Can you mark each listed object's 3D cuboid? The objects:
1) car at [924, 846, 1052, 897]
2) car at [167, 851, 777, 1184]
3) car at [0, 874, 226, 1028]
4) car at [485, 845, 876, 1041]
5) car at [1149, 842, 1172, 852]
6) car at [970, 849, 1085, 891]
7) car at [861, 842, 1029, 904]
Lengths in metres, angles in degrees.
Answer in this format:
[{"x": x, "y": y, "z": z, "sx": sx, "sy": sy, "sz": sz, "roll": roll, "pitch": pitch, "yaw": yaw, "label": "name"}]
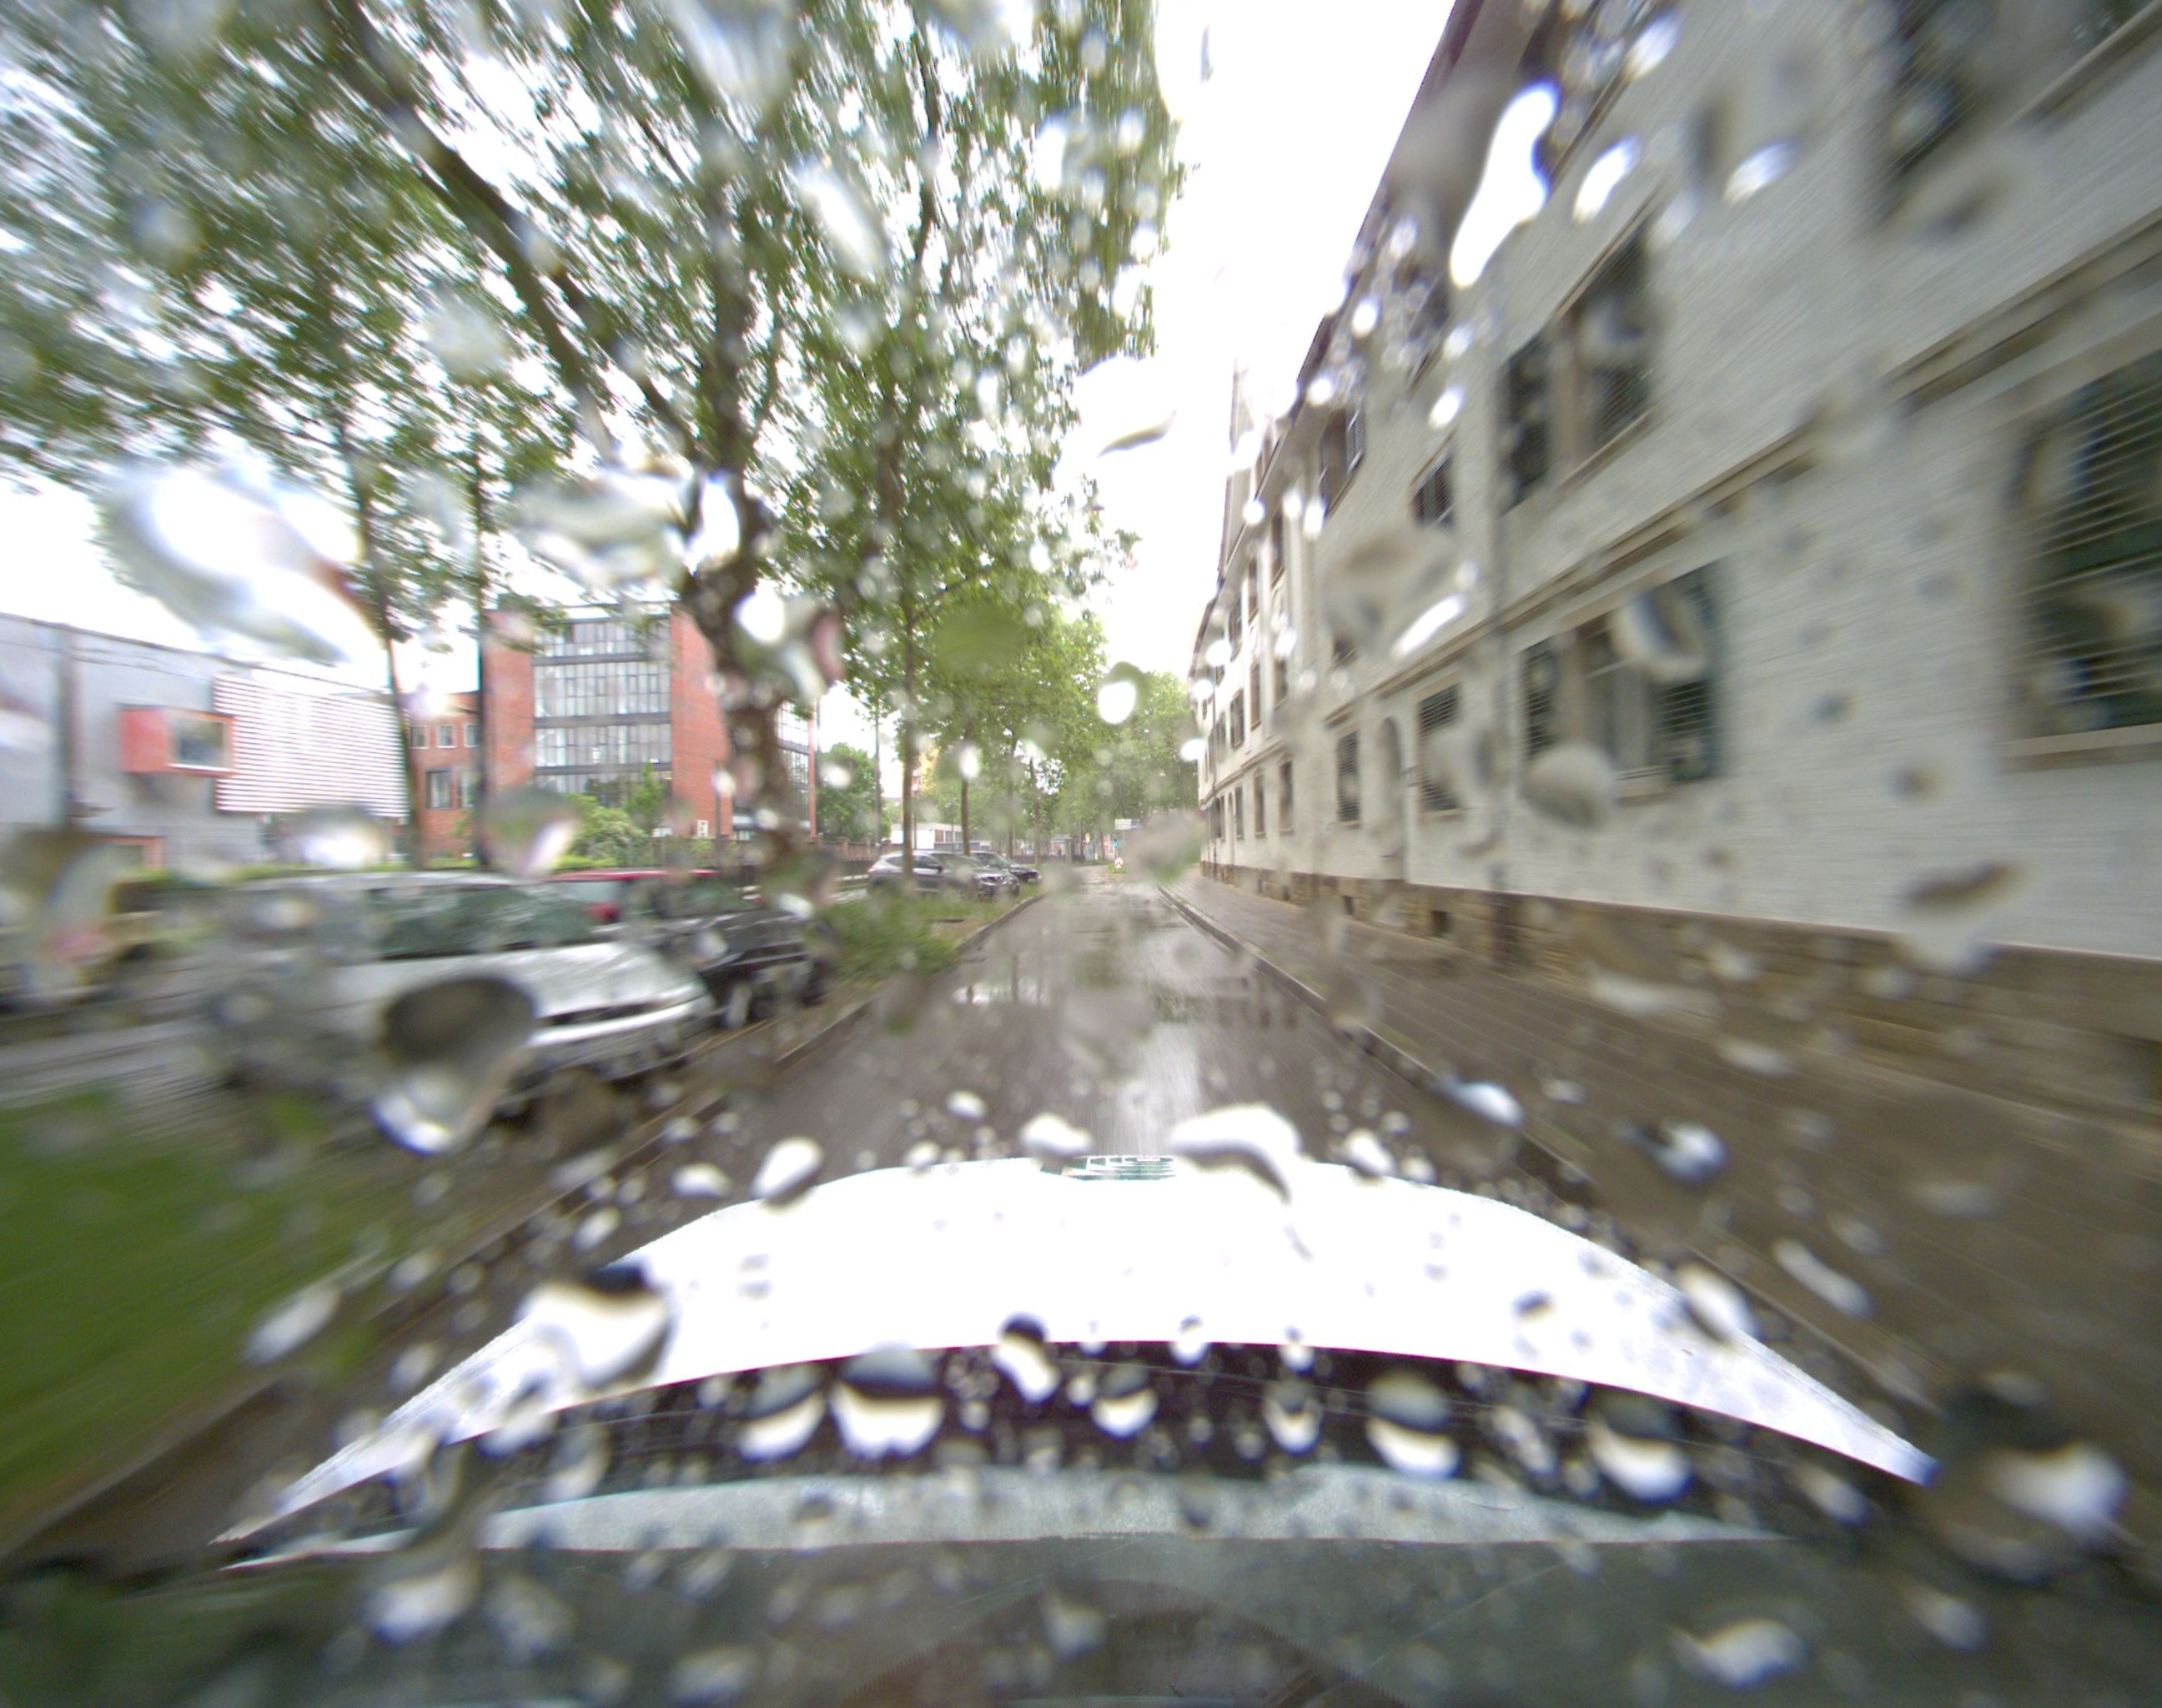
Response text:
[{"x": -3.553, "y": 0.668, "z": 30.914, "sx": 4.473, "sy": 1.714, "sz": 1.973, "roll": -2, "pitch": 1, "yaw": 33, "label": "car"}, {"x": -4.352, "y": 0.803, "z": 5.614, "sx": 4.502, "sy": 1.482, "sz": 1.786, "roll": -2, "pitch": 0, "yaw": 31, "label": "car"}, {"x": -11.913, "y": 1.015, "z": 8.351, "sx": 1.986, "sy": 1.508, "sz": 4.002, "roll": -1, "pitch": 0, "yaw": 2, "label": "car"}, {"x": -4.044, "y": 0.742, "z": 8.083, "sx": 3.768, "sy": 1.521, "sz": 1.733, "roll": -2, "pitch": 0, "yaw": 32, "label": "car"}, {"x": 14.674, "y": -1.291, "z": 149.345, "sx": 4.021, "sy": 1.597, "sz": 1.976, "roll": 1, "pitch": -1, "yaw": -41, "label": "car"}, {"x": -2.203, "y": 0.658, "z": 33.502, "sx": 4.308, "sy": 1.512, "sz": 1.973, "roll": -2, "pitch": 1, "yaw": 33, "label": "car"}, {"x": -3.872, "y": 0.496, "z": 23.075, "sx": 4.416, "sy": 1.597, "sz": 1.935, "roll": 0, "pitch": 0, "yaw": 28, "label": "car"}]
